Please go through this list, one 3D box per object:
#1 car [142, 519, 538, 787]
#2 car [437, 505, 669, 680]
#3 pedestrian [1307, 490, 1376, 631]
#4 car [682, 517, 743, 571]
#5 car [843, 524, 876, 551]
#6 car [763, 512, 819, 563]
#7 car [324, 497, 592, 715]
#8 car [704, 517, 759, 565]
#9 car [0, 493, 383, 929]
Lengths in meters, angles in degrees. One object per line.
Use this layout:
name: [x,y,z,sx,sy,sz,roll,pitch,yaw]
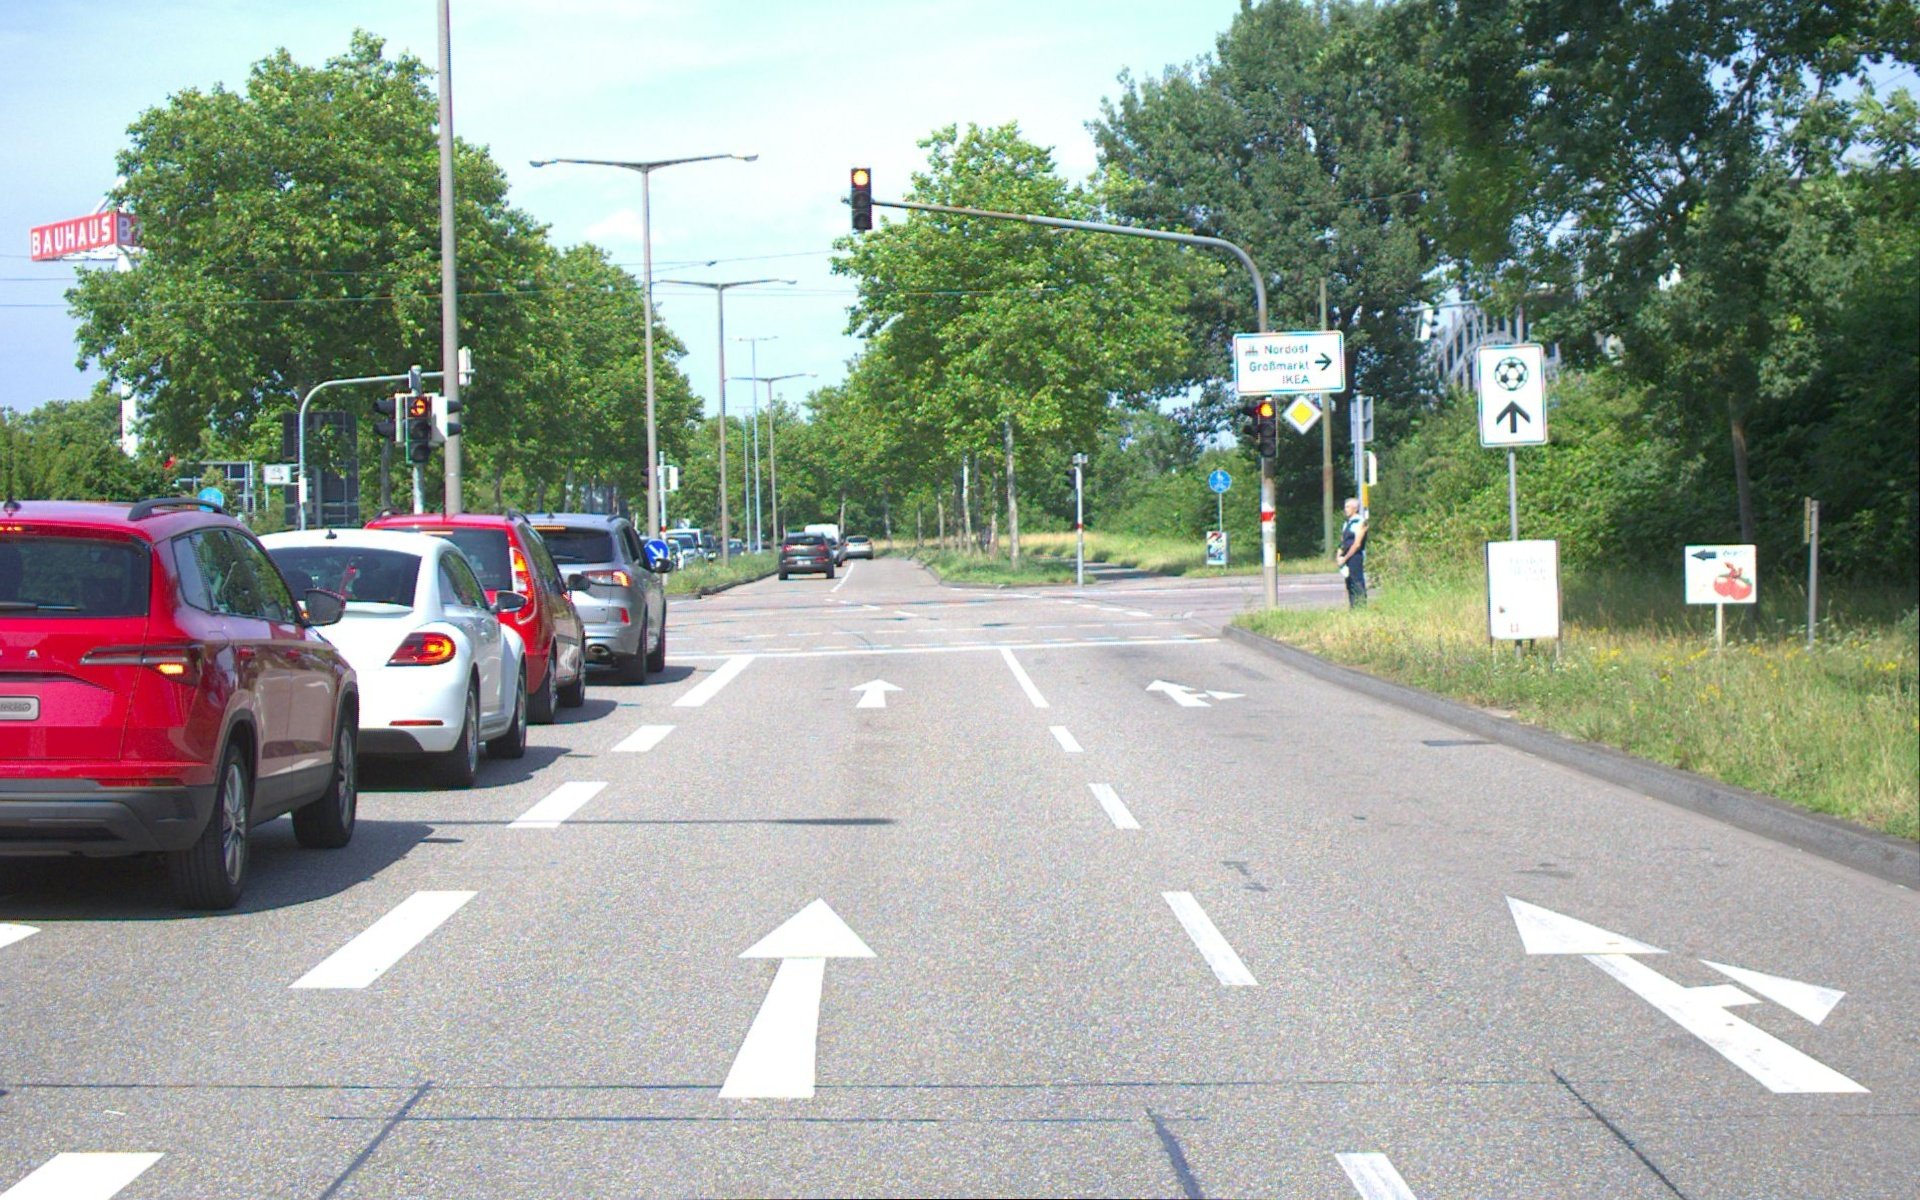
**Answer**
car: [-3.682,0.243,21.070,1.766,1.474,4.136,0,1,-1]
car: [-3.982,-0.112,34.222,1.881,1.612,4.213,-1,1,-1]
pedestrian: [5.333,-0.564,48.096,0.837,1.926,0.772,-1,3,-4]
car: [-8.963,-2.058,124.908,1.993,1.889,4.376,-1,1,-2]
car: [-5.961,-3.720,204.405,1.867,1.568,4.000,-2,1,-1]
car: [-5.762,-2.149,117.353,1.736,1.530,4.001,-1,3,-1]
car: [-3.949,0.033,27.563,1.628,1.590,3.918,-1,0,-1]
car: [-9.304,-2.425,140.204,1.993,1.889,4.376,-1,1,-1]
car: [-3.720,0.352,14.817,1.782,1.587,4.594,0,1,-1]
